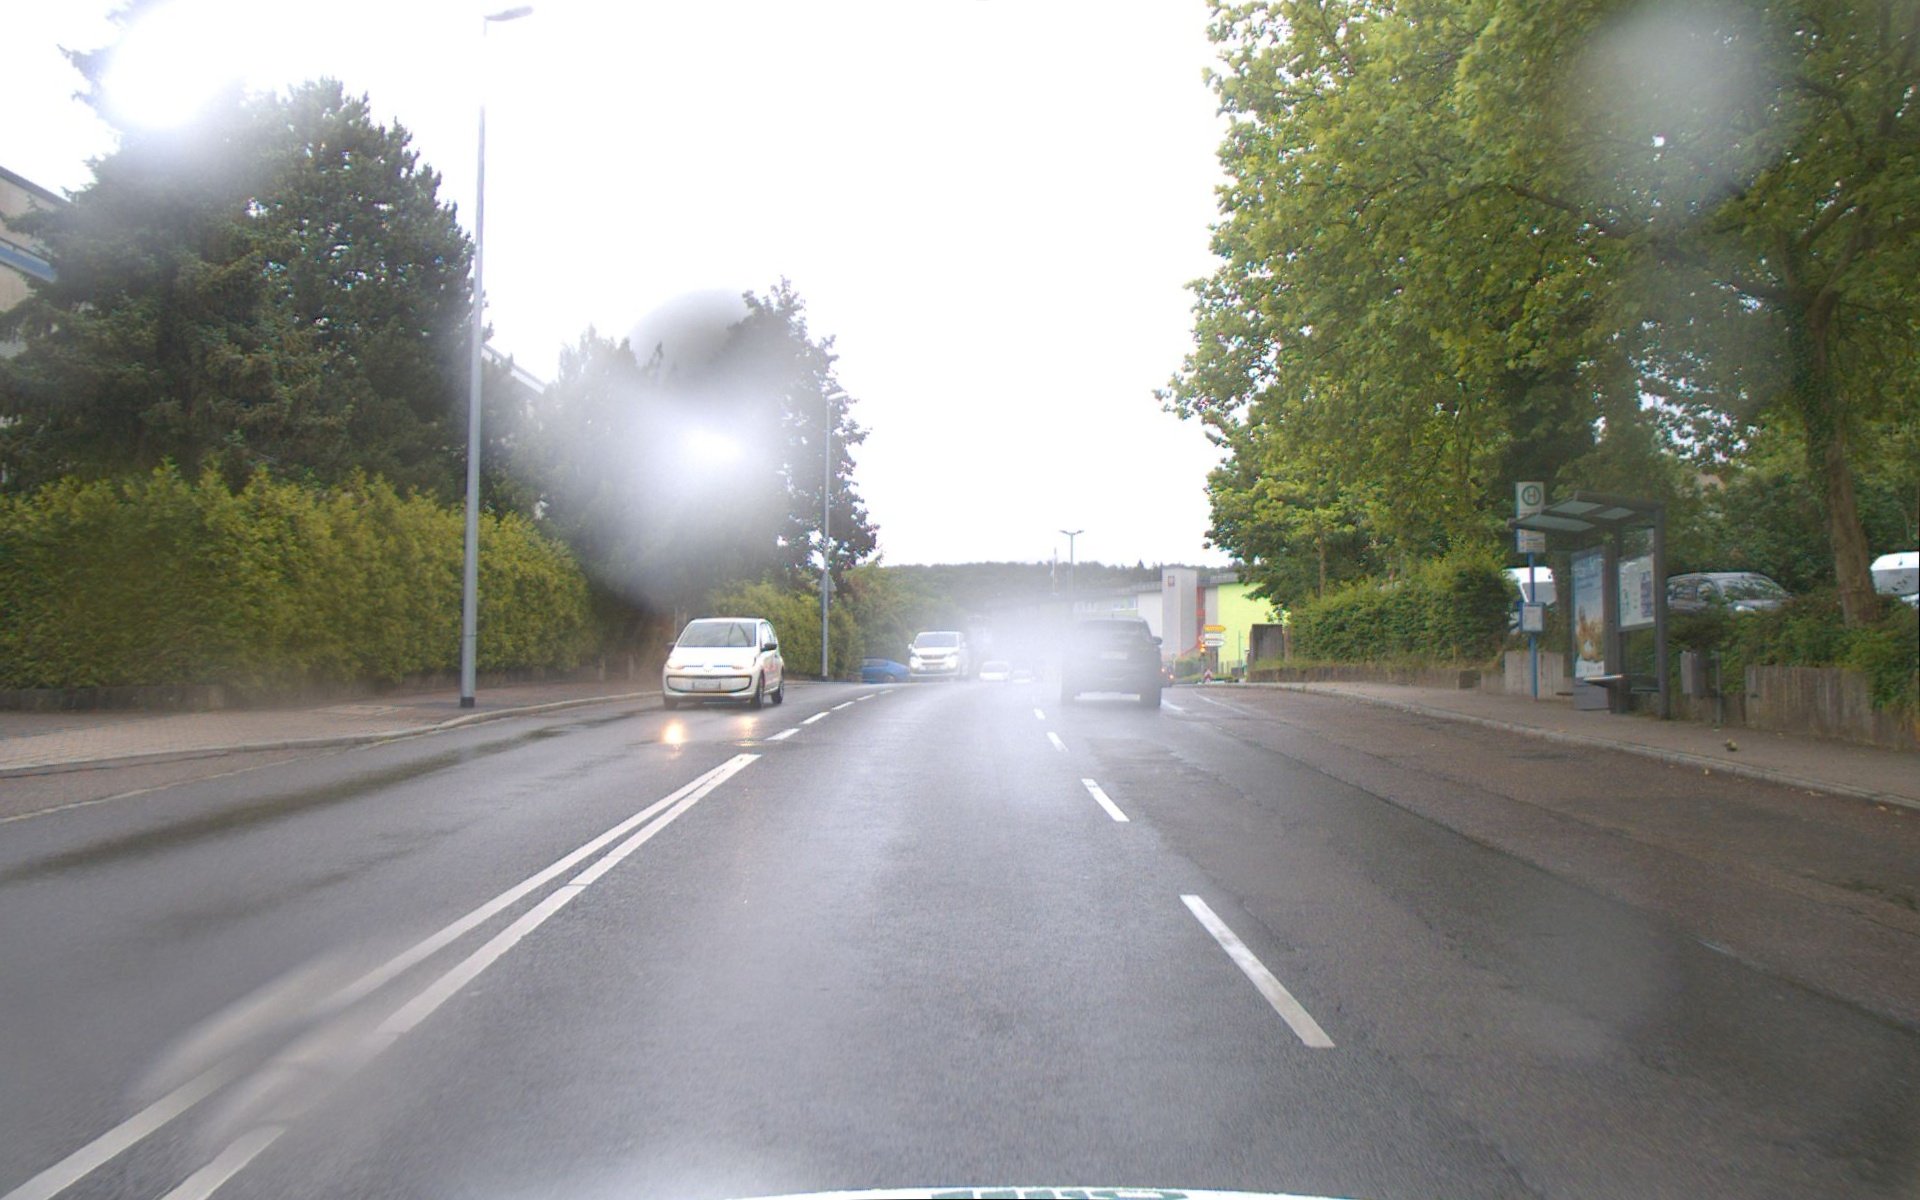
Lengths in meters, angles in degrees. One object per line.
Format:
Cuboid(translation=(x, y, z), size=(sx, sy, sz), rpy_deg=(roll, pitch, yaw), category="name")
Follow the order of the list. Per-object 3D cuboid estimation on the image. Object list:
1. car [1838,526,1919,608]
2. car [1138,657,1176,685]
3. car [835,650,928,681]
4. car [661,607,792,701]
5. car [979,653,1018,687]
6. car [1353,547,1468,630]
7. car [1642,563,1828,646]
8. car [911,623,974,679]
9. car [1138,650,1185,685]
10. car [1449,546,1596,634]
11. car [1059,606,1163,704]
Cuboid(translation=(25.760, -0.802, 43.882), size=(5.134, 2.048, 1.978), rpy_deg=(2, 0, -31), category="car")
Cuboid(translation=(10.948, 3.926, 91.691), size=(1.951, 1.467, 4.003), rpy_deg=(1, -1, 9), category="car")
Cuboid(translation=(-3.871, 3.230, 82.142), size=(4.389, 1.386, 1.805), rpy_deg=(2, -2, 2), category="car")
Cuboid(translation=(-3.872, 0.862, 27.881), size=(1.650, 1.479, 3.398), rpy_deg=(0, 0, 1), category="car")
Cuboid(translation=(2.143, 3.867, 90.607), size=(1.664, 1.738, 3.981), rpy_deg=(3, -3, 7), category="car")
Cuboid(translation=(12.936, -0.340, 47.719), size=(1.954, 2.265, 4.131), rpy_deg=(1, 1, -4), category="car")
Cuboid(translation=(16.538, 0.063, 35.535), size=(1.784, 1.611, 4.169), rpy_deg=(3, 1, -3), category="car")
Cuboid(translation=(-0.612, 1.866, 61.257), size=(1.824, 1.950, 5.031), rpy_deg=(2, -1, 5), category="car")
Cuboid(translation=(9.185, 3.062, 75.543), size=(1.951, 1.467, 4.002), rpy_deg=(1, -1, 5), category="car")
Cuboid(translation=(15.963, -0.305, 47.269), size=(2.005, 2.324, 5.011), rpy_deg=(1, 0, -6), category="car")
Cuboid(translation=(2.755, 0.969, 30.830), size=(1.752, 1.631, 4.255), rpy_deg=(2, 0, 4), category="car")
